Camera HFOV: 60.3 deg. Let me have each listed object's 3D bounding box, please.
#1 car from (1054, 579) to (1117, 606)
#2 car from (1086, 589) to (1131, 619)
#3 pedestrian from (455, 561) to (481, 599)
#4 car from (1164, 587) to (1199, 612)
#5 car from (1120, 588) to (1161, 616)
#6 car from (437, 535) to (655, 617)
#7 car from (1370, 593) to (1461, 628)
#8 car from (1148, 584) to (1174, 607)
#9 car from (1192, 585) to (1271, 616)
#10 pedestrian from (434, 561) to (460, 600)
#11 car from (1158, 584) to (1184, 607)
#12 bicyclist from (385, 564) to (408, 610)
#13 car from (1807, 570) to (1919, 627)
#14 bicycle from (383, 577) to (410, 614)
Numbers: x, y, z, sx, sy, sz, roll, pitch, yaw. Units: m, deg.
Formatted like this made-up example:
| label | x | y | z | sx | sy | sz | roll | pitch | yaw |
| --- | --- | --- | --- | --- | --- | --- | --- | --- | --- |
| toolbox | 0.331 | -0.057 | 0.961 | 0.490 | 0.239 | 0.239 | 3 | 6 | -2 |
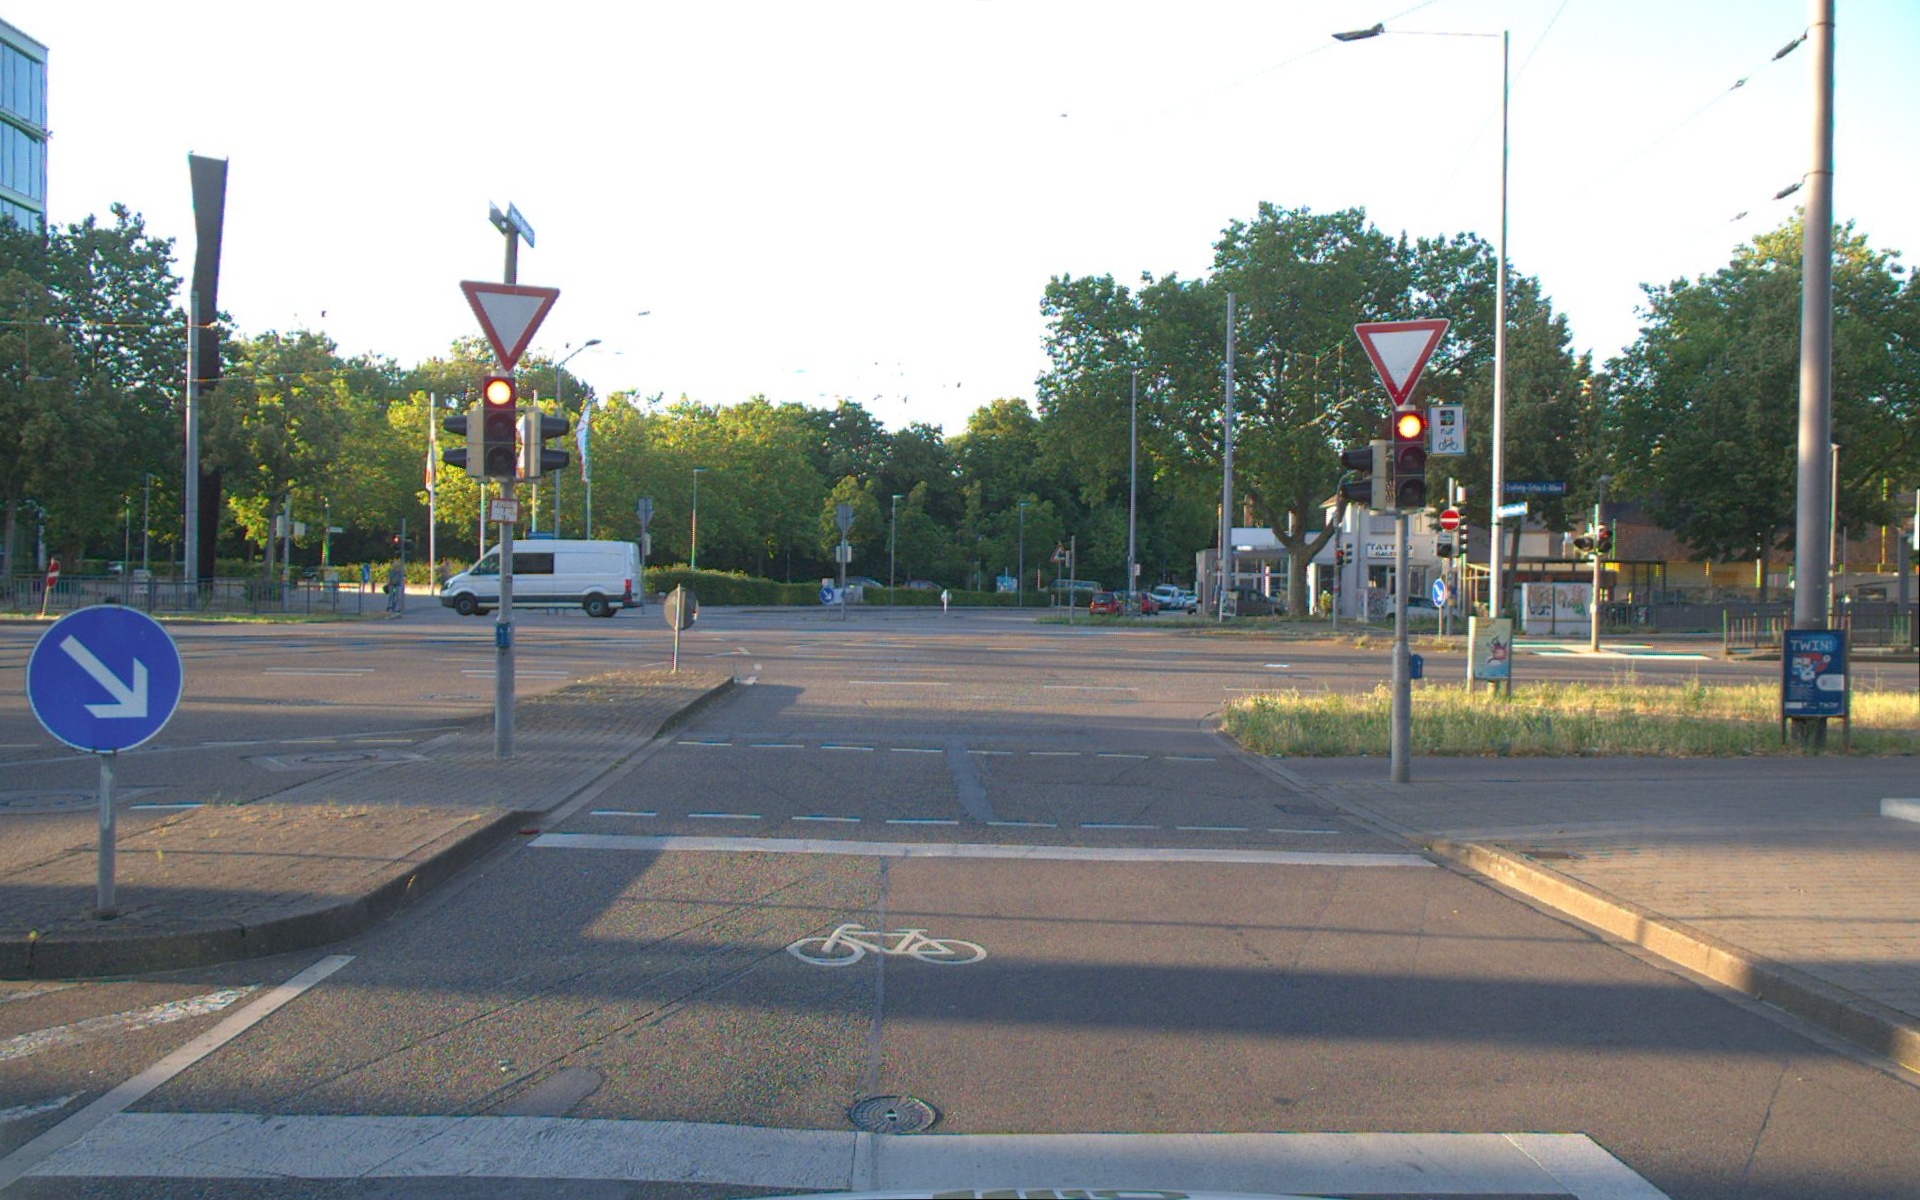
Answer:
| label | x | y | z | sx | sy | sz | roll | pitch | yaw |
| --- | --- | --- | --- | --- | --- | --- | --- | --- | --- |
| car | 9.507 | -0.568 | 126.015 | 4.675 | 2.041 | 2.000 | 1 | -1 | 1 |
| car | 8.621 | 0.237 | 95.801 | 1.951 | 1.691 | 4.003 | 0 | -1 | 14 |
| pedestrian | -23.132 | -0.940 | 77.718 | 0.846 | 1.774 | 0.826 | 1 | 0 | 39 |
| car | 15.554 | -0.044 | 115.822 | 1.951 | 1.691 | 4.003 | 0 | -1 | 14 |
| car | 11.319 | 0.112 | 103.530 | 1.951 | 1.691 | 4.003 | 0 | -1 | 14 |
| car | -14.204 | -0.778 | 57.091 | 6.777 | 2.682 | 2.811 | 1 | -1 | -1 |
| car | 19.937 | 0.449 | 72.517 | 3.659 | 1.465 | 1.665 | 1 | -1 | 9 |
| car | 15.998 | -0.341 | 131.425 | 1.823 | 1.825 | 4.003 | 1 | -1 | 10 |
| car | 14.653 | 0.039 | 89.377 | 4.129 | 1.579 | 2.001 | 1 | -1 | 7 |
| pedestrian | -23.856 | -0.911 | 76.902 | 0.848 | 1.774 | 0.824 | 1 | 0 | 45 |
| car | 17.406 | -0.329 | 136.341 | 1.823 | 1.825 | 4.003 | 0 | -1 | 12 |
| bicyclist | -21.442 | -0.503 | 62.915 | 0.740 | 1.739 | 0.913 | 1 | 0 | -23 |
| car | 43.622 | -0.073 | 78.675 | 5.476 | 2.596 | 2.231 | 1 | 0 | 7 |
| bicycle | -21.447 | -0.186 | 62.941 | 0.720 | 1.364 | 2.670 | 1 | 1 | -24 |
